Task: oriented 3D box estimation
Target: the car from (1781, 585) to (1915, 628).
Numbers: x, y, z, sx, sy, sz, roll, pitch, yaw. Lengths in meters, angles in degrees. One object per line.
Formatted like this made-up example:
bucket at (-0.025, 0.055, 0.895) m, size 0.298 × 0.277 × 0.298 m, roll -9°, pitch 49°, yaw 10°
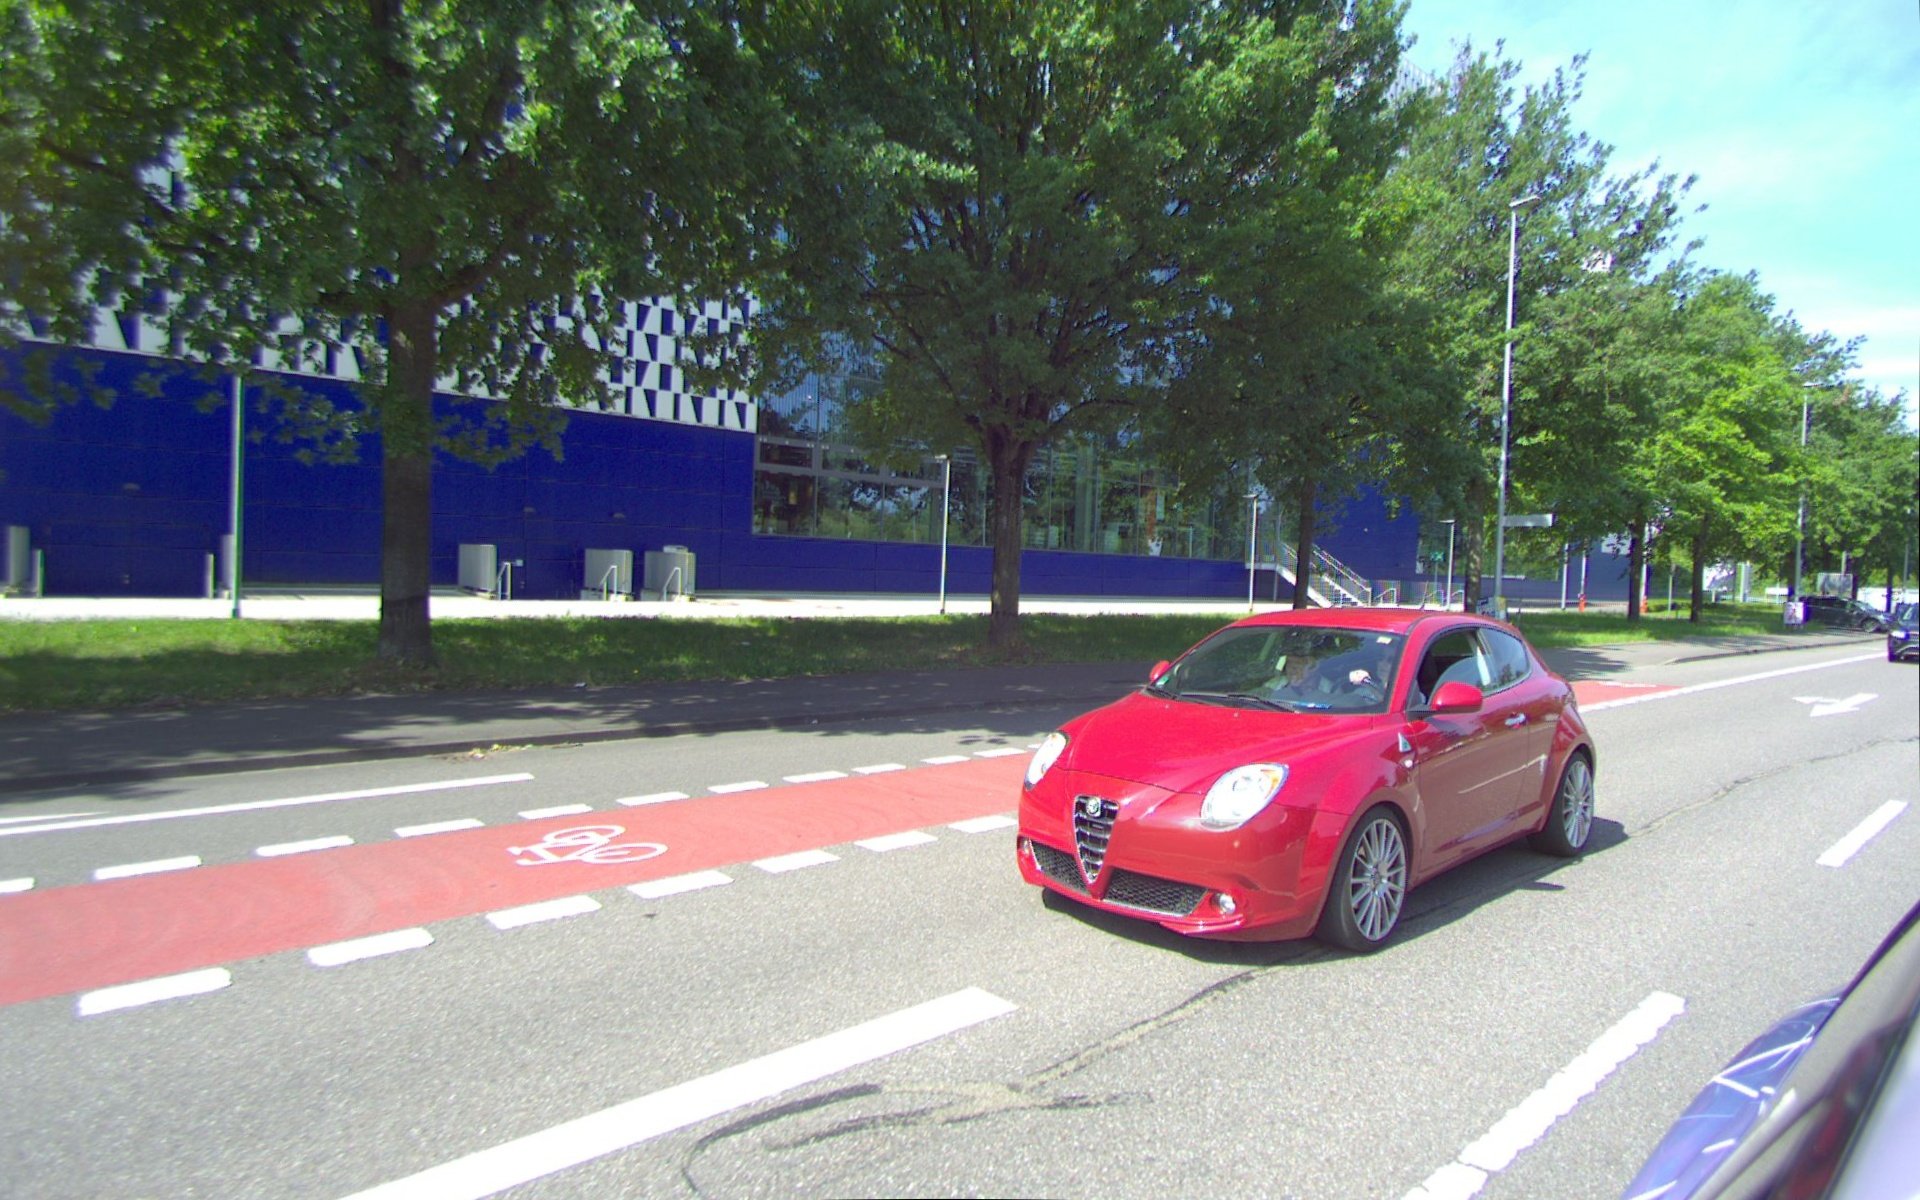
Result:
car at (42.705, 0.267, 48.769) m, size 1.808 × 1.714 × 4.464 m, roll 1°, pitch 3°, yaw -33°

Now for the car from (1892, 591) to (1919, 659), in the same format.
car at (25.314, 0.629, 25.731) m, size 4.038 × 1.662 × 1.824 m, roll 0°, pitch 1°, yaw -39°

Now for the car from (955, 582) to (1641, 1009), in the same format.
car at (2.037, 0.660, 5.511) m, size 3.909 × 1.472 × 1.797 m, roll -1°, pitch 2°, yaw -41°
